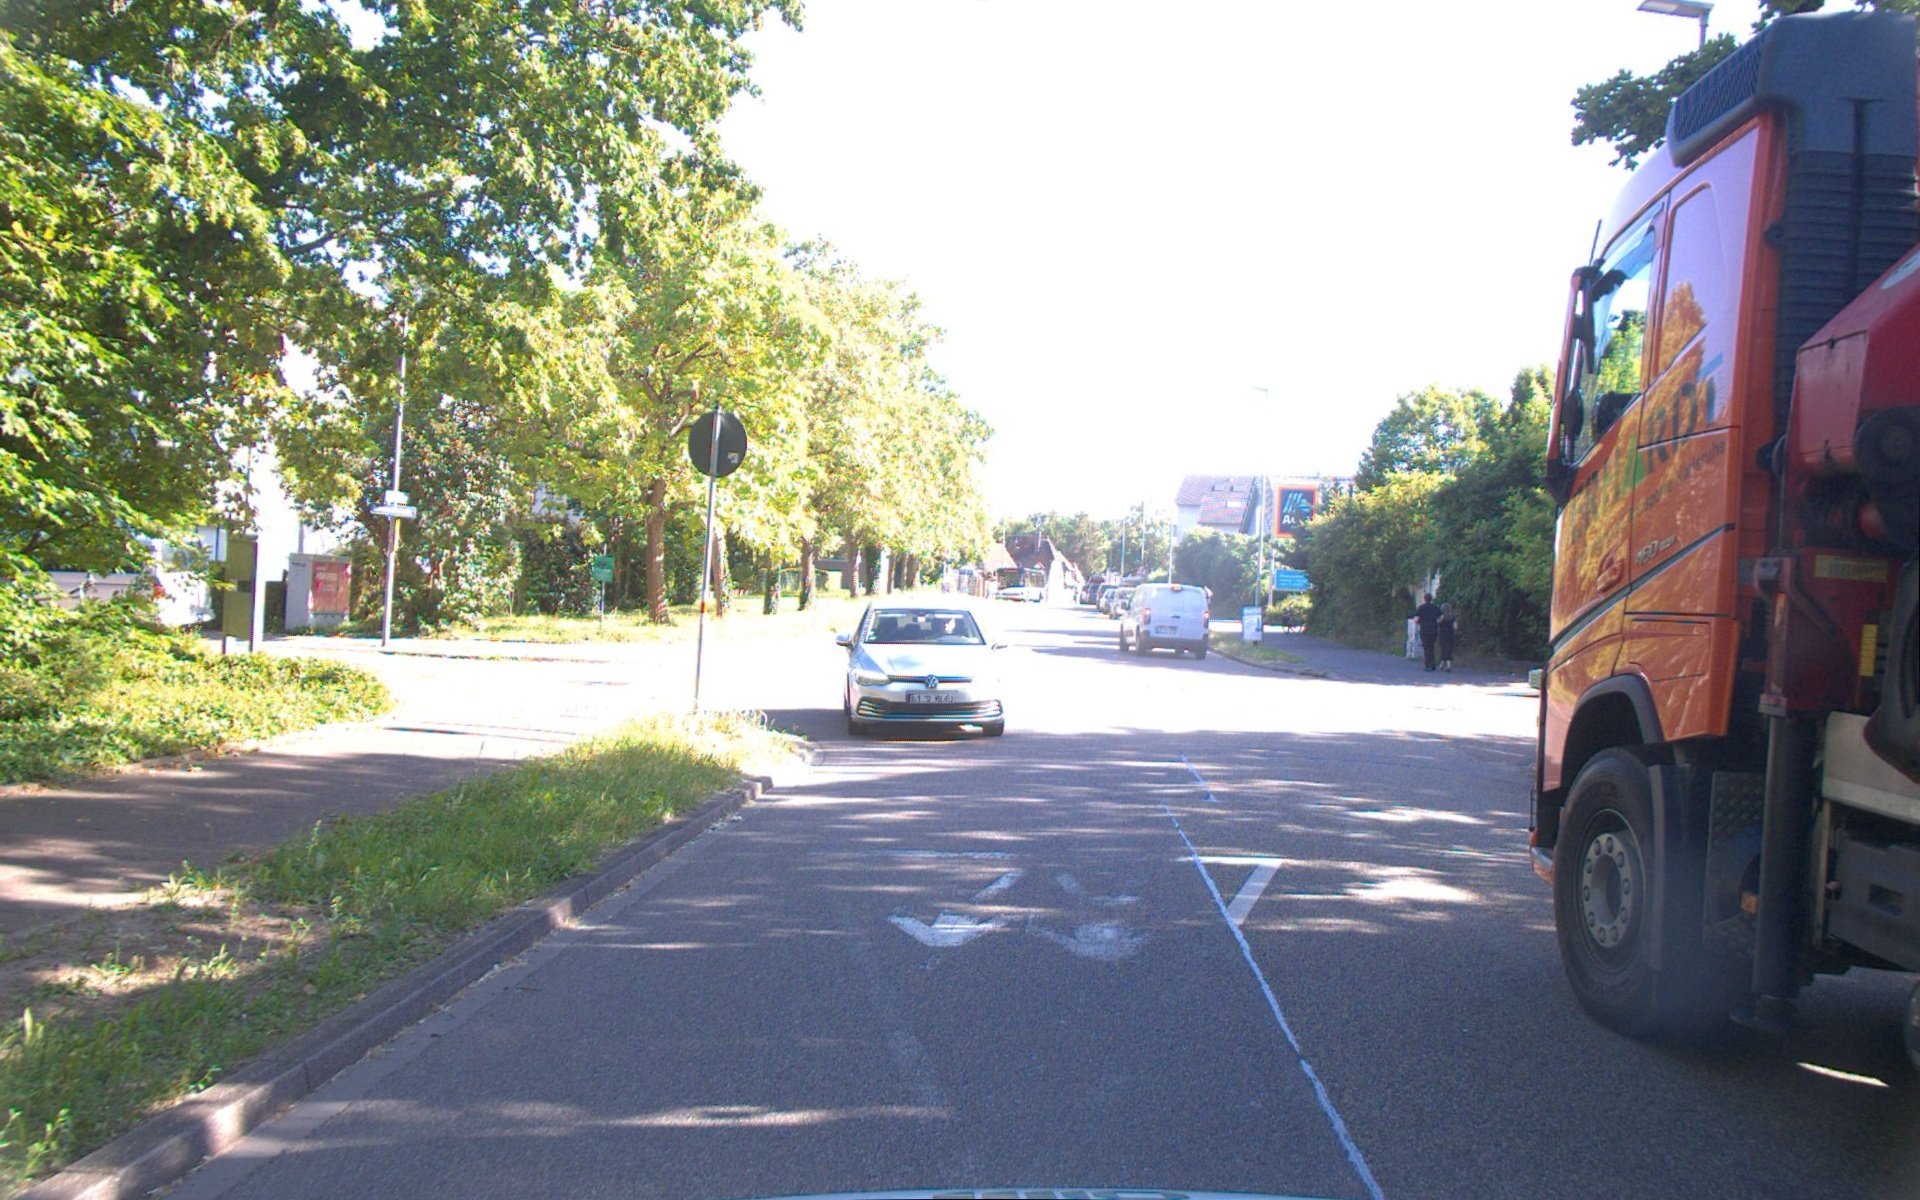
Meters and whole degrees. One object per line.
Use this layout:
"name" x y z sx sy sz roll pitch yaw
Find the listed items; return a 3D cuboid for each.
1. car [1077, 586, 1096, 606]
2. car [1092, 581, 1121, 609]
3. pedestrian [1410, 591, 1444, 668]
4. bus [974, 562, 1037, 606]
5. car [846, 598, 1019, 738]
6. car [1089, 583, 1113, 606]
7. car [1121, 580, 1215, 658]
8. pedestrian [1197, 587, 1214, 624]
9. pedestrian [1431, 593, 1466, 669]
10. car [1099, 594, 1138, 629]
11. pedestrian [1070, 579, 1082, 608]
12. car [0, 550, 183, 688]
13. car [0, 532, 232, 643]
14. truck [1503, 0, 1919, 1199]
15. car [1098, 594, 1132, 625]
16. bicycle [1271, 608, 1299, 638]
"car" 12.693 -0.402 166.314 1.744 1.840 4.001 2 0 2
"car" 10.004 -0.359 113.298 1.744 1.840 4.001 2 0 2
"pedestrian" 10.616 0.672 37.608 0.558 1.712 0.514 2 0 -1
"bus" 3.867 -1.313 137.481 3.978 3.407 9.808 1 0 8
"car" -0.421 0.714 19.337 1.770 1.445 3.955 1 0 -5
"car" 11.905 -0.452 139.894 1.744 1.840 4.001 2 0 2
"car" 5.405 0.471 43.354 1.907 1.875 4.000 3 0 0
"pedestrian" 13.779 0.317 92.847 0.628 2.048 0.700 4 0 -4
"pedestrian" 11.203 0.710 37.947 0.559 1.712 0.513 2 0 -7
"car" 8.081 0.559 84.547 1.744 1.681 4.001 2 0 2
"pedestrian" 8.926 -0.473 127.291 0.736 2.150 0.799 4 0 6
"car" -11.093 0.150 18.451 4.022 1.419 1.679 2 0 4
"car" -16.142 -0.232 31.223 4.022 1.998 1.679 1 0 4
"truck" 3.595 -0.419 2.419 2.715 4.065 10.354 4 0 4
"car" 8.973 0.533 95.871 1.744 1.681 4.001 2 0 2
"bicycle" 12.284 0.882 62.496 0.624 1.044 2.164 4 0 21
